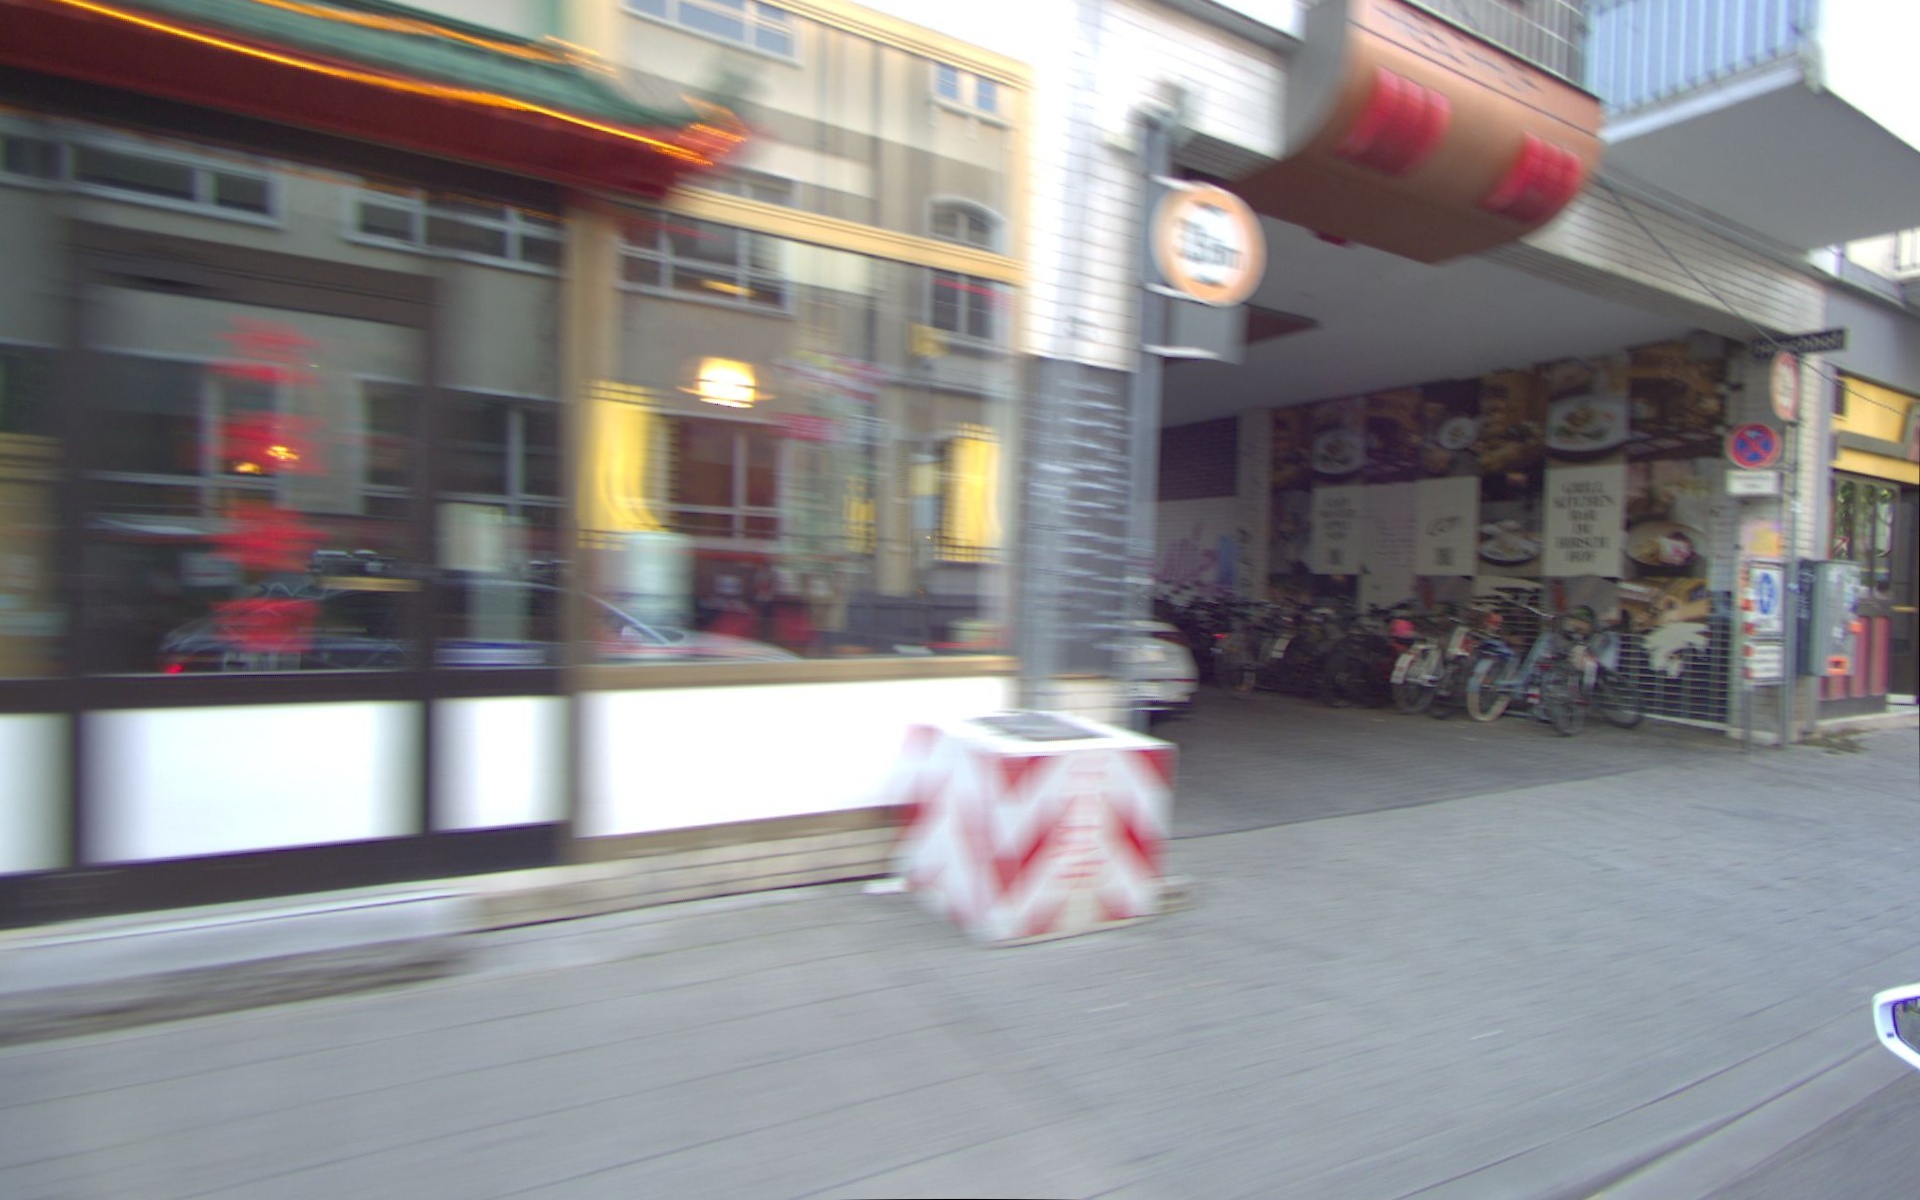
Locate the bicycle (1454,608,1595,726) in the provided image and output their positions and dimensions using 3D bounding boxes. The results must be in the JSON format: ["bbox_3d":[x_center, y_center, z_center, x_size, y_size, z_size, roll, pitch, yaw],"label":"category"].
[{"bbox_3d":[5.953,0.674,10.561,1.771,1.154,0.425,1,2,-31],"label":"bicycle"}]

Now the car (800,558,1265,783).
[{"bbox_3d":[0.336,0.394,9.101,2.046,1.483,4.409,0,2,-31],"label":"car"}]

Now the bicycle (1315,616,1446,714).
[{"bbox_3d":[4.764,0.707,11.348,1.634,1.031,0.449,1,2,-31],"label":"bicycle"}]

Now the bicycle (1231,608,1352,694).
[{"bbox_3d":[4.234,0.637,12.804,1.631,1.042,0.425,1,0,-27],"label":"bicycle"}]

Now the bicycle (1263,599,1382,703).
[{"bbox_3d":[4.410,0.594,12.187,1.636,1.176,0.424,0,3,-34],"label":"bicycle"}]

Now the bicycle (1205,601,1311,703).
[{"bbox_3d":[3.583,0.594,11.997,1.641,1.139,0.423,0,0,-42],"label":"bicycle"}]

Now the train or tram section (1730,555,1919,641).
[{"bbox_3d":[40.197,-0.074,43.259,2.978,3.571,10.754,1,1,-31],"label":"train or tram section"}]

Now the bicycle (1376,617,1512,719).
[{"bbox_3d":[5.297,0.714,10.965,1.730,1.031,0.425,1,1,-31],"label":"bicycle"}]

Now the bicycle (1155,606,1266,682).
[{"bbox_3d":[3.551,0.603,14.221,1.631,1.031,0.425,1,0,-26],"label":"bicycle"}]

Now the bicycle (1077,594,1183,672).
[{"bbox_3d":[2.642,0.501,15.580,1.631,1.173,0.503,1,0,-26],"label":"bicycle"}]

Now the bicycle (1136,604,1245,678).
[{"bbox_3d":[3.364,0.589,14.602,1.631,1.031,0.425,1,0,-26],"label":"bicycle"}]

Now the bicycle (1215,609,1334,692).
[{"bbox_3d":[4.175,0.640,13.289,1.856,1.031,0.424,1,0,-34],"label":"bicycle"}]

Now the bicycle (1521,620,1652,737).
[{"bbox_3d":[6.165,0.737,9.869,1.448,1.053,0.440,1,3,-32],"label":"bicycle"}]

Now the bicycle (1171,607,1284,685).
[{"bbox_3d":[3.705,0.616,13.898,1.631,1.031,0.425,1,0,-26],"label":"bicycle"}]
